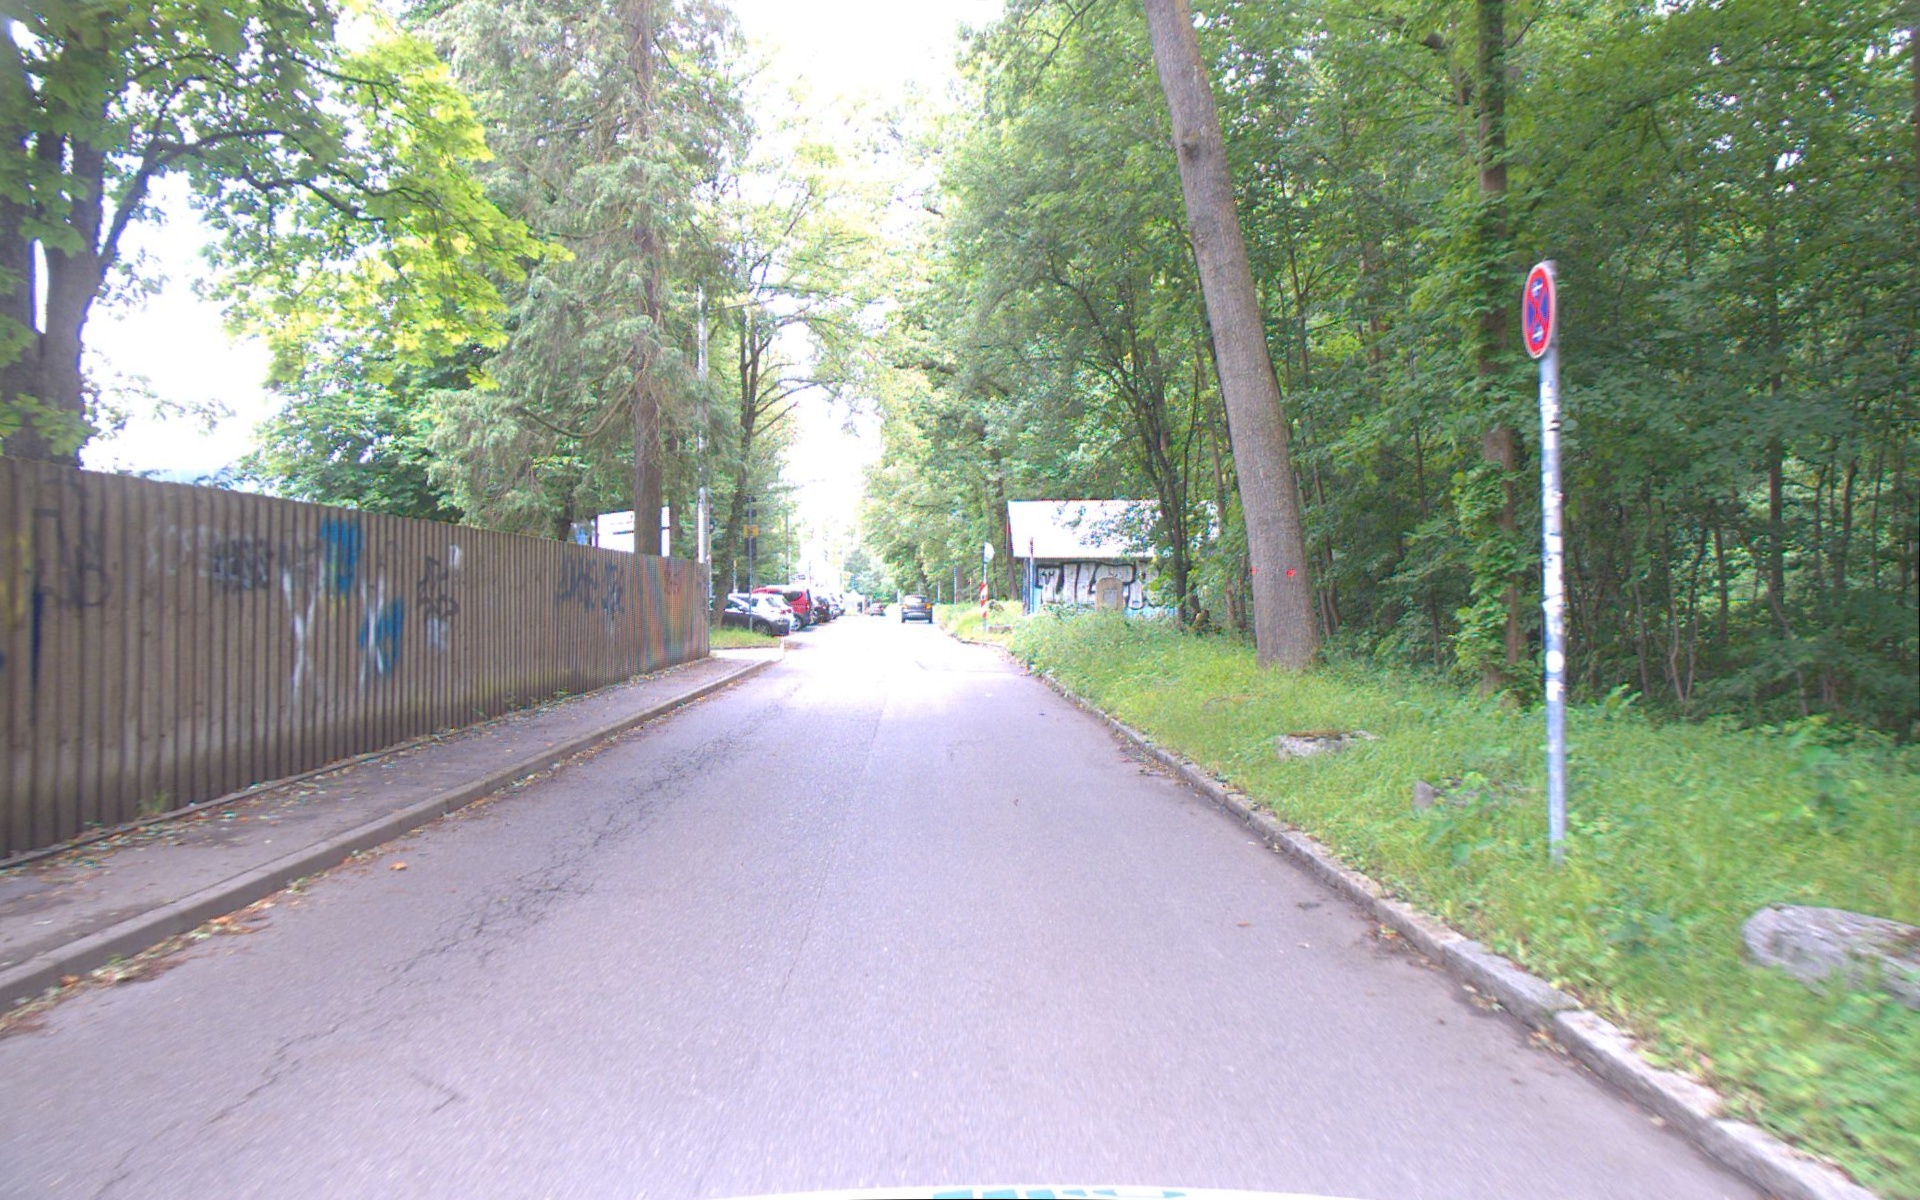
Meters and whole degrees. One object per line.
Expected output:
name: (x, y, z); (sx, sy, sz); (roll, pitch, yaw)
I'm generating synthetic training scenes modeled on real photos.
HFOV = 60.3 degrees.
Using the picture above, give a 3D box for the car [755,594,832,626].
car: (-7.894, 0.472, 78.692); (3.500, 1.432, 1.649); (-1, -1, -2)

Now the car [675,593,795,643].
car: (-7.610, 0.593, 56.284); (3.910, 1.601, 1.998); (-1, 0, -6)

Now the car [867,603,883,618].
car: (-11.855, 1.472, 231.407); (1.956, 2.049, 3.994); (-1, 0, -7)

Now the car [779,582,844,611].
car: (-9.338, -0.200, 104.164); (3.907, 1.624, 1.764); (-2, -1, -2)

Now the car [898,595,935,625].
car: (-2.271, 0.538, 87.801); (1.869, 1.534, 3.999); (2, 0, -1)

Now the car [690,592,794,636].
car: (-8.429, 0.528, 64.216); (3.910, 1.601, 1.998); (-1, 0, -6)

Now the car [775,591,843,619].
car: (-8.029, 0.285, 88.277); (3.500, 1.432, 1.649); (-1, -1, -2)

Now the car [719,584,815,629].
car: (-8.061, 0.269, 69.400); (3.910, 1.780, 1.998); (-1, 0, -6)

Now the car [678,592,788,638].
car: (-8.345, 0.539, 61.127); (3.910, 1.601, 1.998); (-1, 0, -6)

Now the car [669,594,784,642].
car: (-8.239, 0.626, 58.594); (3.910, 1.601, 1.998); (-1, 0, -6)
